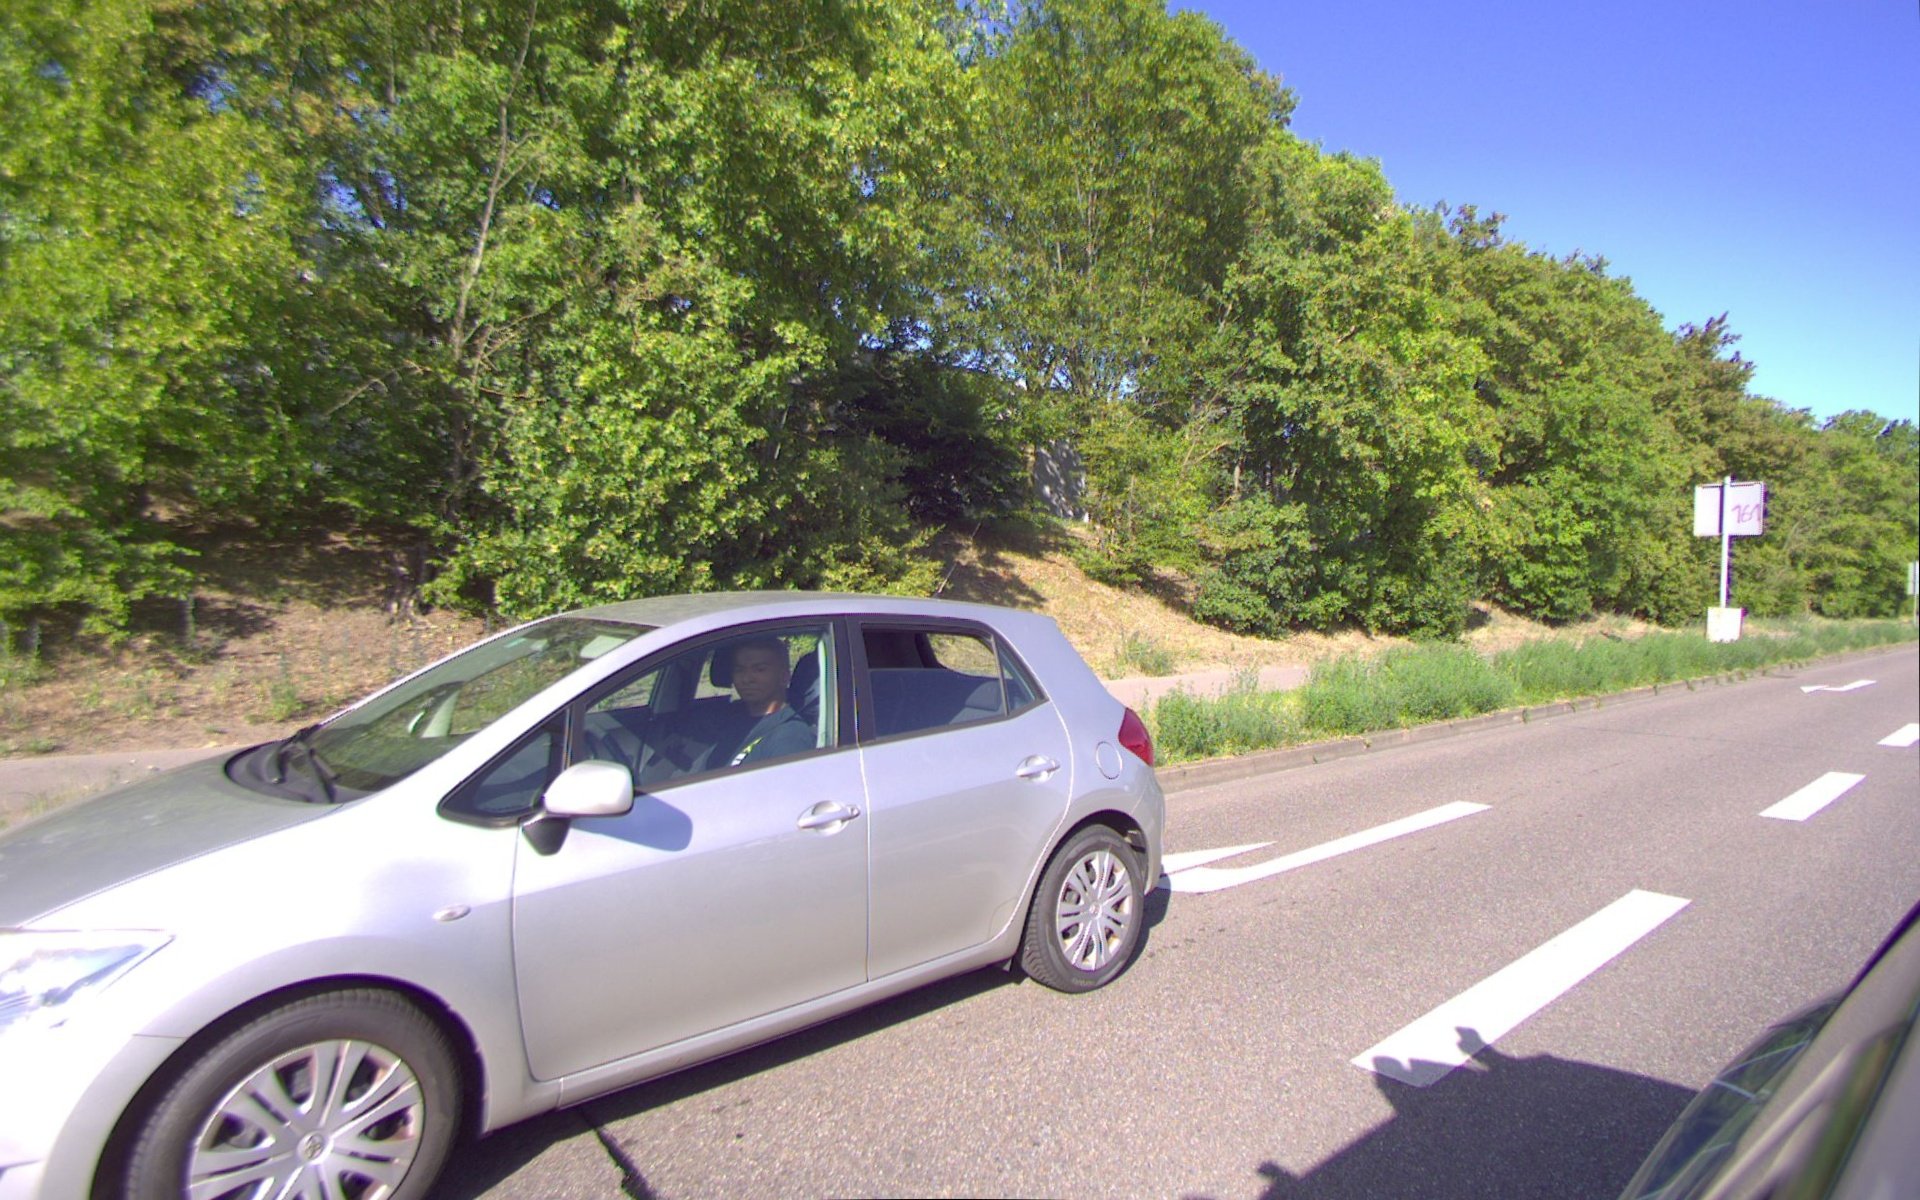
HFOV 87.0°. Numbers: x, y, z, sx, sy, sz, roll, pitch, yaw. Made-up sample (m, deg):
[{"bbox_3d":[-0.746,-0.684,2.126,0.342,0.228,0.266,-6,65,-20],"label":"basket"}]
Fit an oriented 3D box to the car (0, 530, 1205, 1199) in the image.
[{"bbox_3d":[-1.070,0.652,3.588,4.036,1.556,1.786,0,0,-41],"label":"car"}]
